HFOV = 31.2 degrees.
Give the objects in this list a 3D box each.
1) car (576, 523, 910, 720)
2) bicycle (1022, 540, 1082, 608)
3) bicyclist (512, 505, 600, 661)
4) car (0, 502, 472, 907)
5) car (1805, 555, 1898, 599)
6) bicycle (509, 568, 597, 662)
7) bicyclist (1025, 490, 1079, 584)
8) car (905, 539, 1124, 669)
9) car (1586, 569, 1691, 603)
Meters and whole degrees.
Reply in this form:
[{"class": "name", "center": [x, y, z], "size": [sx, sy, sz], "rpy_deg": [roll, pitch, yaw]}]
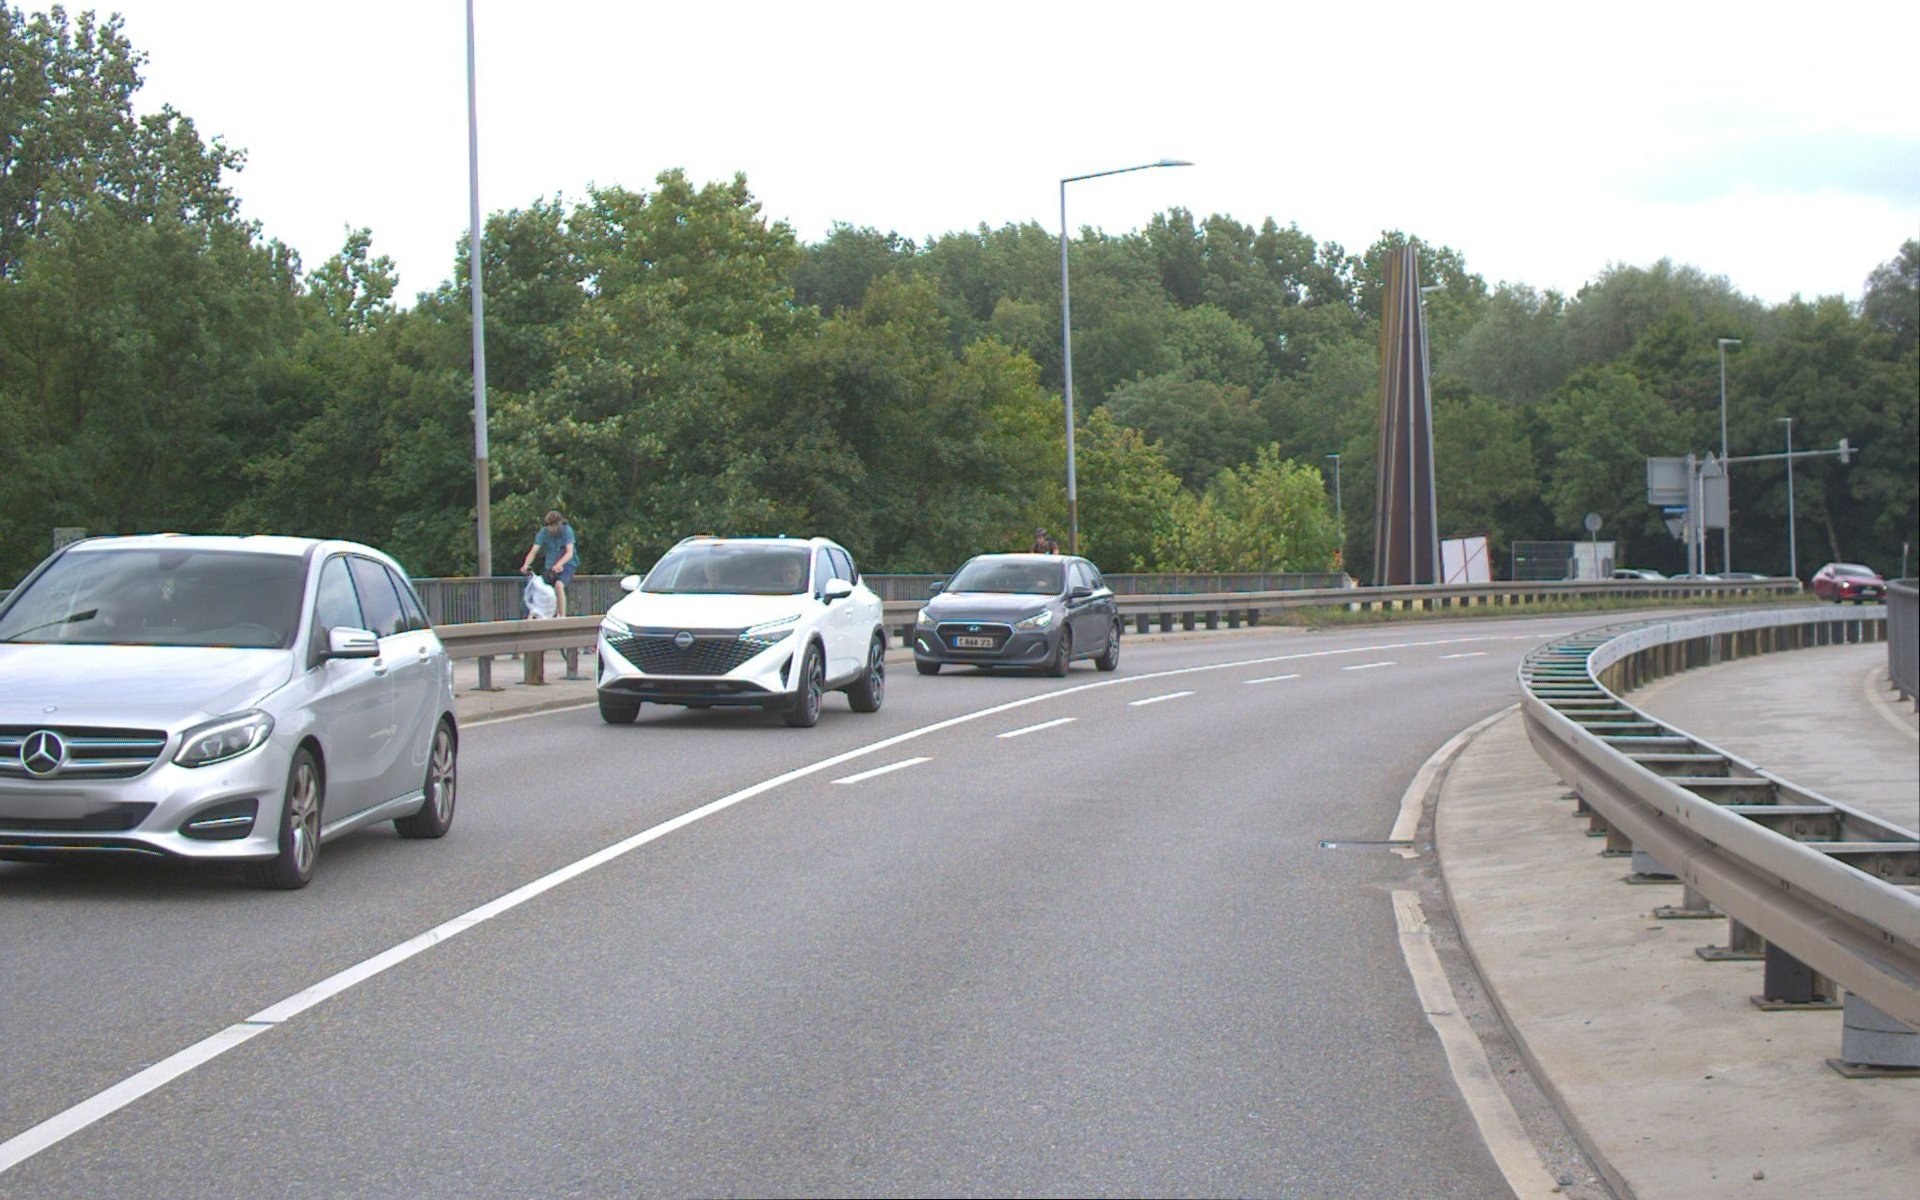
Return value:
[{"class": "car", "center": [-1.821, 0.143, 30.543], "size": [1.941, 1.588, 4.772], "rpy_deg": [1, 1, 9]}, {"class": "bicycle", "center": [1.616, -0.454, 60.165], "size": [0.635, 1.170, 1.905], "rpy_deg": [1, 1, 14]}, {"class": "bicyclist", "center": [-4.726, -0.200, 40.294], "size": [0.849, 1.802, 0.796], "rpy_deg": [1, 1, 6]}, {"class": "car", "center": [-3.637, 0.385, 16.047], "size": [1.818, 1.614, 4.397], "rpy_deg": [1, 1, 4]}, {"class": "car", "center": [30.868, -0.812, 119.164], "size": [1.795, 1.467, 4.636], "rpy_deg": [1, 1, -3]}, {"class": "bicycle", "center": [-4.756, 0.166, 40.255], "size": [0.646, 1.064, 1.761], "rpy_deg": [1, 1, 6]}, {"class": "bicyclist", "center": [1.609, -1.103, 60.119], "size": [0.772, 1.626, 0.649], "rpy_deg": [1, 0, 17]}, {"class": "car", "center": [0.725, 0.017, 41.686], "size": [1.809, 1.472, 4.380], "rpy_deg": [1, 1, 12]}, {"class": "car", "center": [27.531, -0.571, 139.607], "size": [1.994, 1.305, 3.806], "rpy_deg": [0, 1, -36]}]
